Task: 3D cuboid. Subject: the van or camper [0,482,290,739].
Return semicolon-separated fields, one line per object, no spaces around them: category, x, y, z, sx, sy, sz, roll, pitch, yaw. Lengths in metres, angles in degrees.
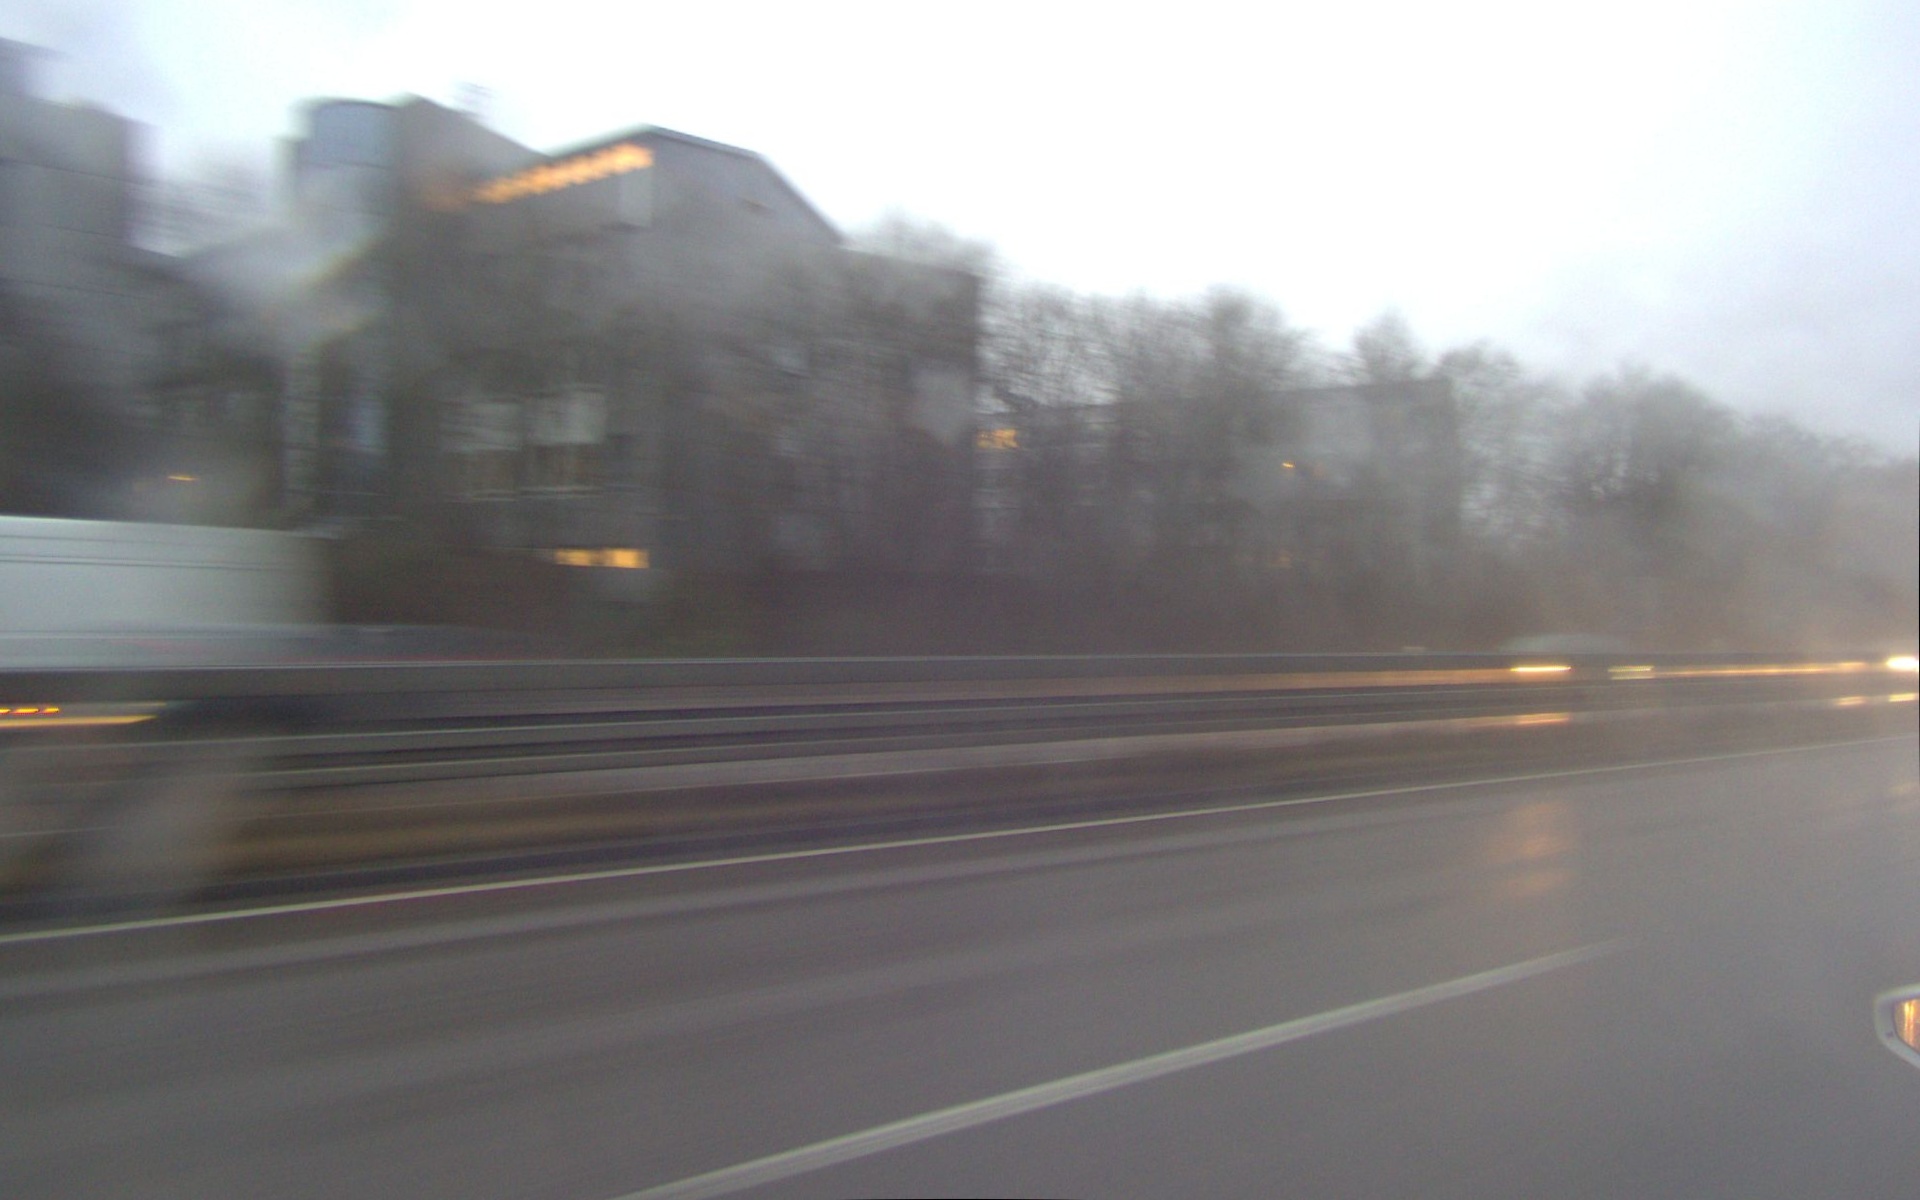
van or camper;-11.437;0.043;10.382;7.314;2.606;2.067;1;2;-30

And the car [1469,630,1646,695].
car;14.917;1.506;25.059;4.156;1.378;1.887;1;2;-28

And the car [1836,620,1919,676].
car;33.978;1.700;36.070;4.833;1.777;1.987;1;2;-25

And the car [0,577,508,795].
car;-6.257;0.663;8.943;3.950;1.573;1.774;1;2;-28
